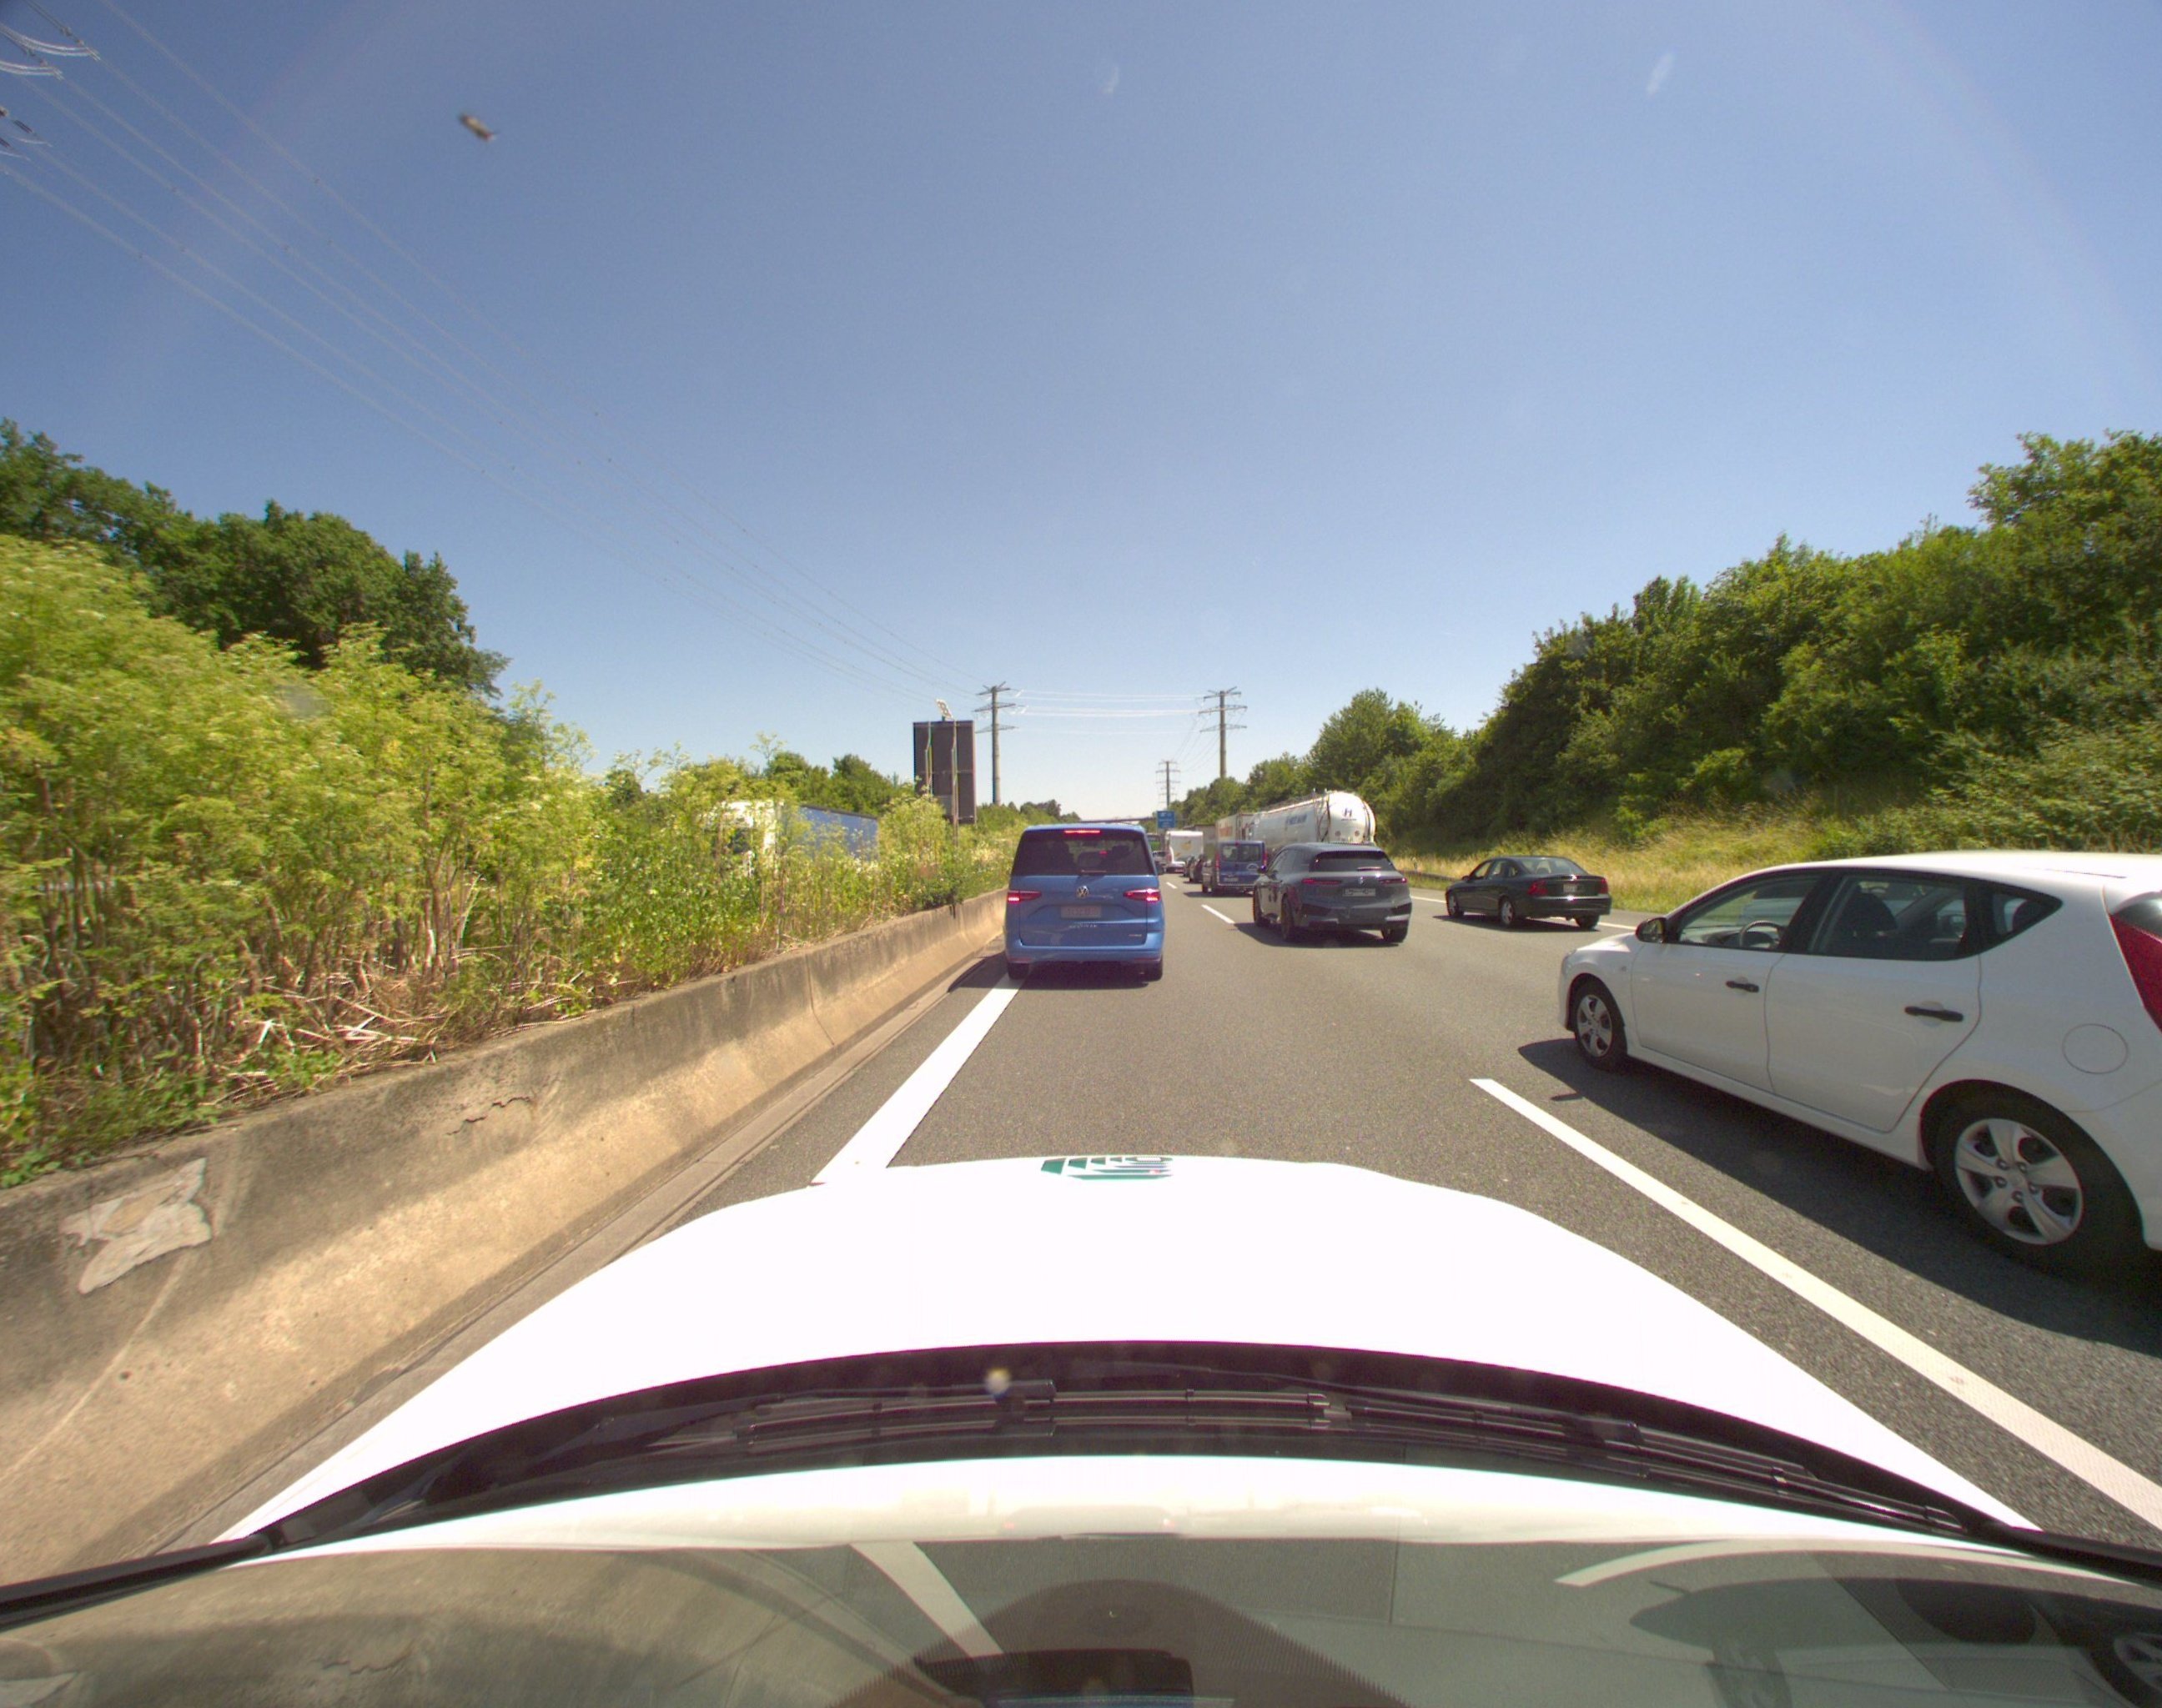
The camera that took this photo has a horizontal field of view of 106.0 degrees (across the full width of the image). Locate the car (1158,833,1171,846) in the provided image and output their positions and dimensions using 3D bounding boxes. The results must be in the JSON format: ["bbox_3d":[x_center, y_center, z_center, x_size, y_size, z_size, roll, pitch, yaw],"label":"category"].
[{"bbox_3d":[14.429,-2.500,140.824,1.985,2.014,4.003,-1,0,3],"label":"car"}]

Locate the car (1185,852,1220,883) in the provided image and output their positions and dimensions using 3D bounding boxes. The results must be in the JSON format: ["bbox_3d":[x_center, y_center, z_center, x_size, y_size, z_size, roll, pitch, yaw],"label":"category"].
[{"bbox_3d":[6.123,0.688,41.423,1.355,1.420,3.887,-2,-1,3],"label":"car"}]

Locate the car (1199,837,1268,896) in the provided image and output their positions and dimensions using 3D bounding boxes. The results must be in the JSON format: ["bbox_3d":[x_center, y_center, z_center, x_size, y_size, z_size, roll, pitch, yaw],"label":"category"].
[{"bbox_3d":[5.492,0.443,29.818,1.915,1.925,4.239,-2,-1,3],"label":"car"}]

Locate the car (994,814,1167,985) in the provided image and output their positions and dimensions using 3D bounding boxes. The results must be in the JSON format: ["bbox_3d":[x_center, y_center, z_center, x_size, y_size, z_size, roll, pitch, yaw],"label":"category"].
[{"bbox_3d":[0.087,0.492,11.025,1.912,1.886,4.003,0,0,3],"label":"car"}]

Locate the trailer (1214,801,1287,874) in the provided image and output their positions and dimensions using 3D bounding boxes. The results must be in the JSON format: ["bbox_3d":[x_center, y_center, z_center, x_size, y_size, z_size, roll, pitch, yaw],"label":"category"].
[{"bbox_3d":[11.520,-1.027,56.820,2.901,4.469,12.160,-1,0,2],"label":"trailer"}]

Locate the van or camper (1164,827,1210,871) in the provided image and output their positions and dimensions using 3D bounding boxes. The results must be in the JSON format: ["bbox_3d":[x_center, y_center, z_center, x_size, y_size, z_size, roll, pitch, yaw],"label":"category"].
[{"bbox_3d":[7.729,-0.310,60.328,2.944,3.022,7.110,-1,0,4],"label":"van or camper"}]

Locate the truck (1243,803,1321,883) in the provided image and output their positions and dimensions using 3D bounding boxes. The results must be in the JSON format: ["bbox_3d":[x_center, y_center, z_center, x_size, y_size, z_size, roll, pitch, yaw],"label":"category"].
[{"bbox_3d":[10.285,-0.533,42.204,2.782,3.836,5.575,-1,0,2],"label":"truck"}]

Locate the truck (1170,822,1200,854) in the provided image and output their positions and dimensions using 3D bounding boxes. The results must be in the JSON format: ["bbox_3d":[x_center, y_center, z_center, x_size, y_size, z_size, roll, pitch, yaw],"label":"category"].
[{"bbox_3d":[13.159,-1.909,104.428,2.883,3.766,13.356,-1,0,3],"label":"truck"}]

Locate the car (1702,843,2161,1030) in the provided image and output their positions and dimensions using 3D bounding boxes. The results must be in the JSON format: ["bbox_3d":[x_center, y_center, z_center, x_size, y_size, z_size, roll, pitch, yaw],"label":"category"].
[{"bbox_3d":[8.808,0.638,8.466,1.724,1.443,4.031,-1,0,2],"label":"car"}]

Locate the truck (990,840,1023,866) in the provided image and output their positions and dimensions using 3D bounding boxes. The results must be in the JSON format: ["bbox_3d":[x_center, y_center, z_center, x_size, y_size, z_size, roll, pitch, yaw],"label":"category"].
[{"bbox_3d":[-10.248,-0.140,113.269,2.753,3.288,11.831,-1,0,4],"label":"truck"}]

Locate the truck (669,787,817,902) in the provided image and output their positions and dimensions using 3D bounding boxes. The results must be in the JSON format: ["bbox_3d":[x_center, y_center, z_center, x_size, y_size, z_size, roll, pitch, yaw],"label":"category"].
[{"bbox_3d":[-13.706,-0.337,33.732,2.999,4.228,6.691,-1,-1,3],"label":"truck"}]

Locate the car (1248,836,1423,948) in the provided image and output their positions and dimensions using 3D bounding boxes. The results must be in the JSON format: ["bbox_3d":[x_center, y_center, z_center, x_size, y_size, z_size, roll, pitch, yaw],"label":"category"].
[{"bbox_3d":[4.471,0.629,15.125,1.991,1.715,4.629,-1,-1,3],"label":"car"}]

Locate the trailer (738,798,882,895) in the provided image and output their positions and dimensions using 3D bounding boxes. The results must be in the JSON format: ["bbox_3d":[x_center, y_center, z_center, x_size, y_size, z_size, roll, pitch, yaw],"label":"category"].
[{"bbox_3d":[-13.270,-0.274,41.343,2.999,4.228,10.990,-1,0,3],"label":"trailer"}]

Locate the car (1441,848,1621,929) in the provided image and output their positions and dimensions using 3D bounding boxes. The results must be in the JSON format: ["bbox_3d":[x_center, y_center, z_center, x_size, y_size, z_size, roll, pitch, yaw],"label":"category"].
[{"bbox_3d":[9.063,0.651,16.794,1.634,1.416,3.992,-2,-1,3],"label":"car"}]

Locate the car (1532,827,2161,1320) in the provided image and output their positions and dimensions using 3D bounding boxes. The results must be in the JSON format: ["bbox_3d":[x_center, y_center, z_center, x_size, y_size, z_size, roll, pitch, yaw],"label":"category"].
[{"bbox_3d":[4.266,0.664,4.229,1.809,1.485,4.004,-1,-1,4],"label":"car"}]

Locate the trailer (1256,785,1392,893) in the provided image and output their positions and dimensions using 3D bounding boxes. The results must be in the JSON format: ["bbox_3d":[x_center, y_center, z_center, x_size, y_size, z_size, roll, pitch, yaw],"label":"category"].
[{"bbox_3d":[10.000,-0.544,35.173,2.750,3.845,11.491,-1,0,2],"label":"trailer"}]

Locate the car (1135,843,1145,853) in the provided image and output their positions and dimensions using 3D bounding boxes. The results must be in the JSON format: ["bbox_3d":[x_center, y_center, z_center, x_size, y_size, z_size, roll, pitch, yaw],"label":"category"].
[{"bbox_3d":[13.071,-1.288,179.530,1.986,2.126,4.002,-1,0,2],"label":"car"}]

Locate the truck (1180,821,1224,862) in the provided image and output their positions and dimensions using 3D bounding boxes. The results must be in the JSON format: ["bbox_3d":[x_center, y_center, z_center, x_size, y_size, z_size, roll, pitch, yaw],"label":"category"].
[{"bbox_3d":[12.061,-1.101,82.595,2.993,3.766,15.726,-1,0,3],"label":"truck"}]

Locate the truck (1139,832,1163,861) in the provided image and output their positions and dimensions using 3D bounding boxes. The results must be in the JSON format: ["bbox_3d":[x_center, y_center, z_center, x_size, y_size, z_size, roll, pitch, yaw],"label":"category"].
[{"bbox_3d":[9.470,-0.976,111.295,2.883,3.766,10.149,-1,0,3],"label":"truck"}]

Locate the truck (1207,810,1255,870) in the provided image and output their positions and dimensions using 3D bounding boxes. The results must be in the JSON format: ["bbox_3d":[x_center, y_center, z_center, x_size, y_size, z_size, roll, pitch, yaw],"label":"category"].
[{"bbox_3d":[11.810,-1.035,64.376,2.901,4.469,5.145,-1,0,2],"label":"truck"}]

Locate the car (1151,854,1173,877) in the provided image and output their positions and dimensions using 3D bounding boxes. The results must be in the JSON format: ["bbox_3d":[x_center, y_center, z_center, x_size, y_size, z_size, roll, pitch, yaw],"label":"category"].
[{"bbox_3d":[7.436,1.014,74.741,1.828,1.998,4.004,-2,-1,4],"label":"car"}]
